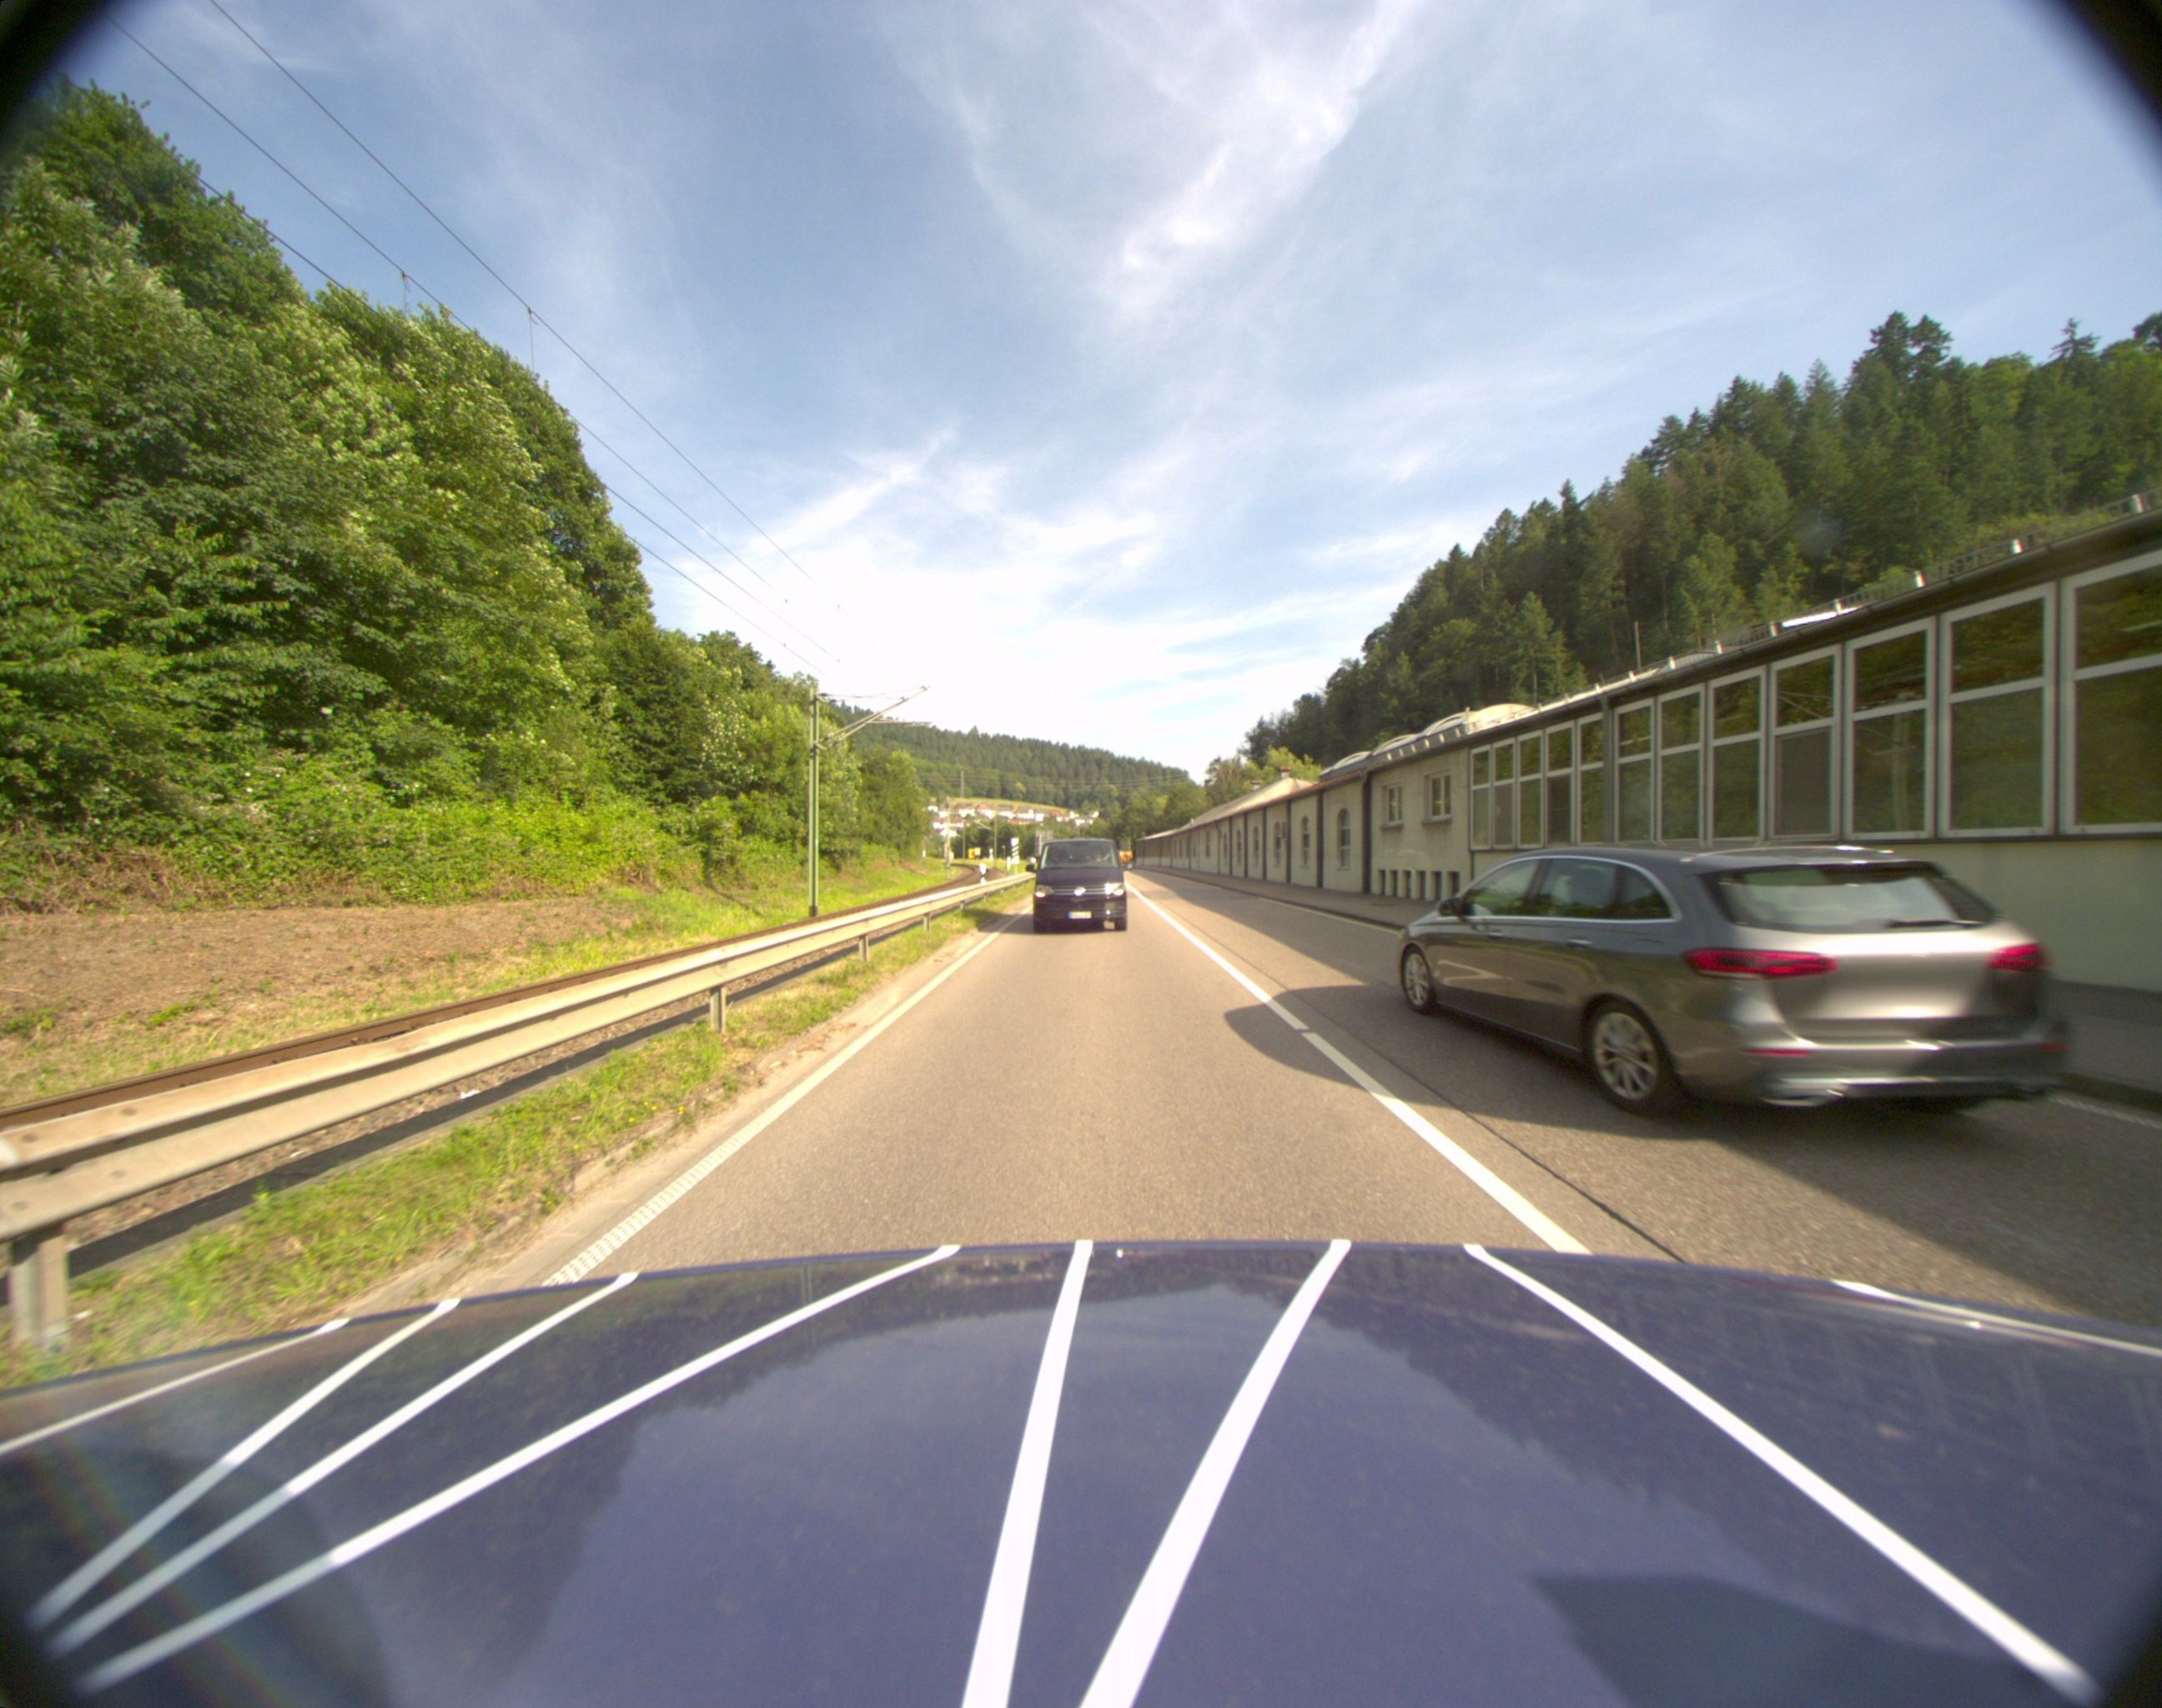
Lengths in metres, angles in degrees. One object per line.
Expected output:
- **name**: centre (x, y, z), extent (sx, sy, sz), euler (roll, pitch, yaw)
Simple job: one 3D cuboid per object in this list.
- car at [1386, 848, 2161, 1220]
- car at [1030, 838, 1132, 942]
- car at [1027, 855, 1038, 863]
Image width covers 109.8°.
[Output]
- **car**: centre (3.828, 0.756, 5.292), extent (1.723, 1.505, 4.198), euler (-2, 0, 1)
- **car**: centre (-0.054, 0.673, 17.043), extent (1.901, 1.927, 5.187), euler (-1, 0, -1)
- **car**: centre (-10.814, 1.046, 168.232), extent (1.936, 1.572, 4.454), euler (-3, 0, -9)
